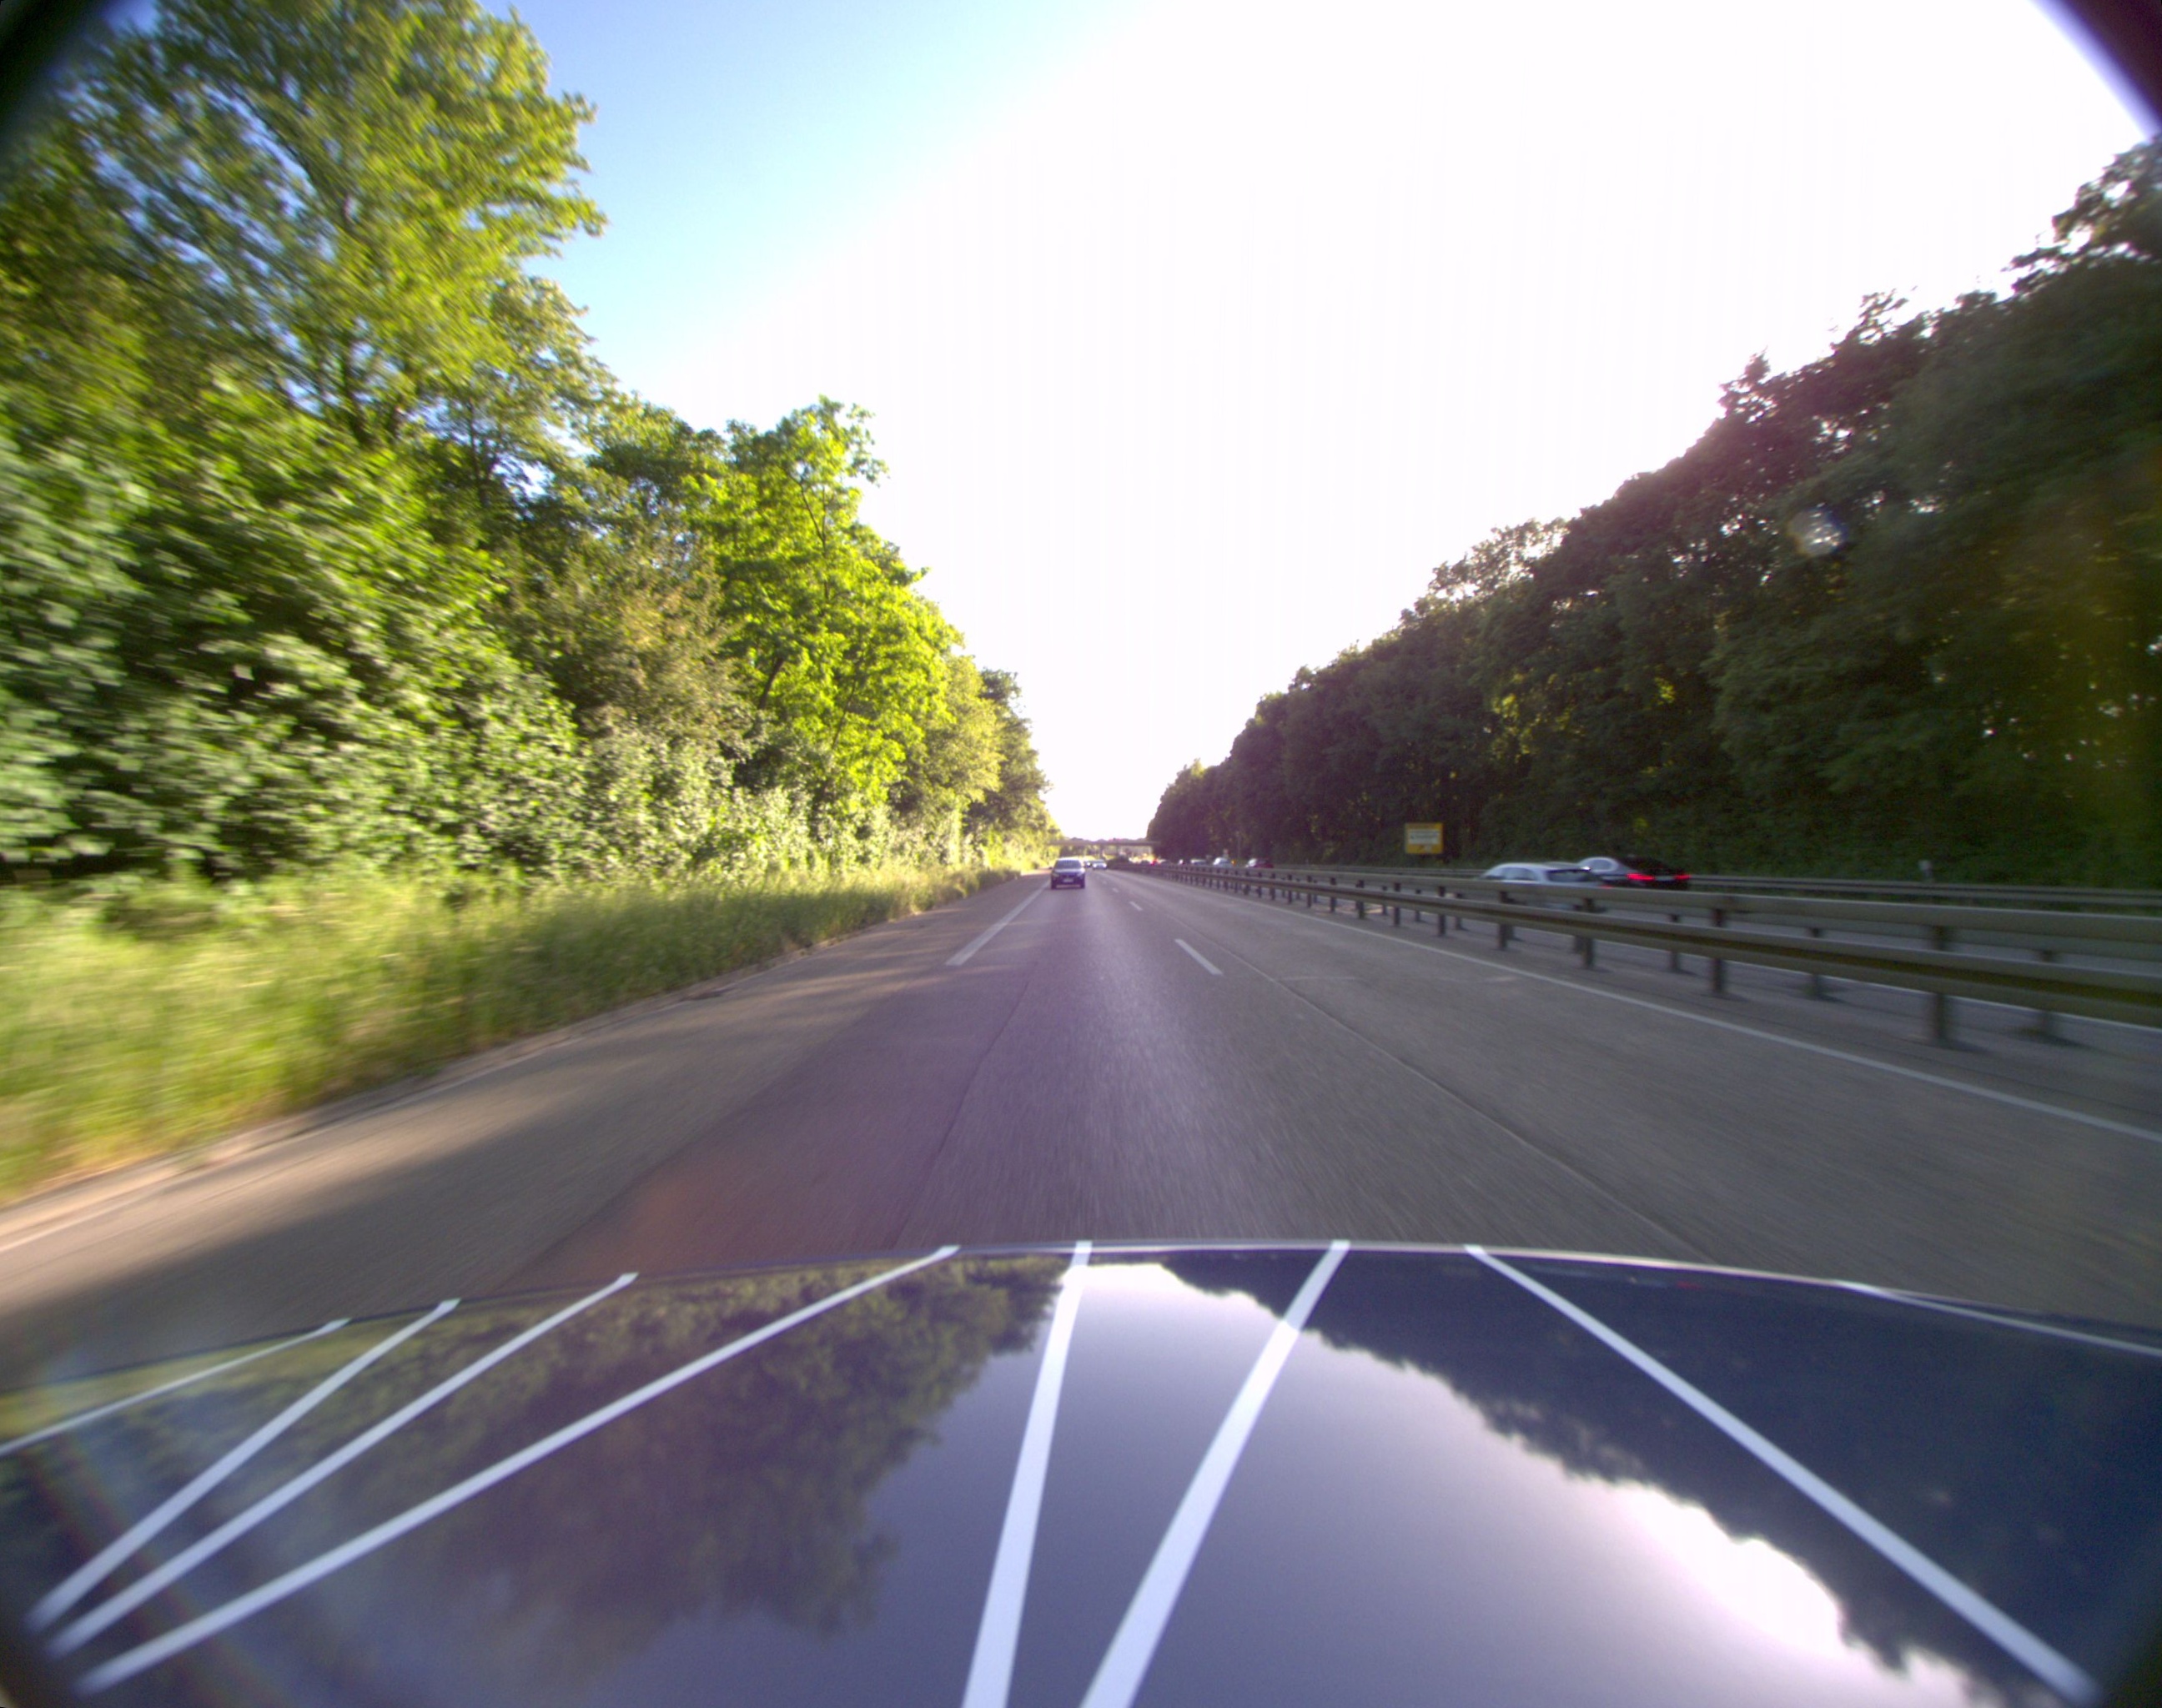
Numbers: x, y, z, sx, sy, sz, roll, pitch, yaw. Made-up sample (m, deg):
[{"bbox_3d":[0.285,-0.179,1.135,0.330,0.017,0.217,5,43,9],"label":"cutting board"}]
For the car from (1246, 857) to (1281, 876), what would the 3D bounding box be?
[{"bbox_3d":[15.204,0.992,63.544,1.998,1.455,4.000,1,0,1],"label":"car"}]

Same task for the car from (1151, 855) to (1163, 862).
[{"bbox_3d":[17.227,0.970,172.301,1.999,1.591,4.706,1,0,-1],"label":"car"}]

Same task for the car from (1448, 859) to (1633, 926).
[{"bbox_3d":[11.695,0.909,19.824,1.998,1.455,4.740,1,0,1],"label":"car"}]

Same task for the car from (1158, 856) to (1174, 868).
[{"bbox_3d":[10.743,1.005,95.956,1.728,1.459,4.097,1,0,2],"label":"car"}]

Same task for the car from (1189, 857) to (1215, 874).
[{"bbox_3d":[11.393,1.085,71.917,1.729,1.365,4.095,1,2,-1],"label":"car"}]

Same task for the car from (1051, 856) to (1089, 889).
[{"bbox_3d":[-0.517,0.921,39.778,1.712,1.565,3.423,-2,0,3],"label":"car"}]

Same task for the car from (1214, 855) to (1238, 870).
[{"bbox_3d":[16.730,0.916,87.678,1.998,1.613,4.790,1,0,2],"label":"car"}]

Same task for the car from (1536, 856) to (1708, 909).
[{"bbox_3d":[16.875,0.814,24.096,1.998,1.455,4.902,1,0,1],"label":"car"}]

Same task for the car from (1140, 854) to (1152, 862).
[{"bbox_3d":[13.875,0.843,162.337,1.999,1.689,4.907,1,0,-1],"label":"car"}]

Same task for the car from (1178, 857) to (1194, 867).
[{"bbox_3d":[17.368,1.296,125.526,1.999,1.477,3.999,1,0,-1],"label":"car"}]

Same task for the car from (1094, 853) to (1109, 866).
[{"bbox_3d":[2.797,0.726,103.701,1.998,1.793,4.000,1,0,0],"label":"car"}]
